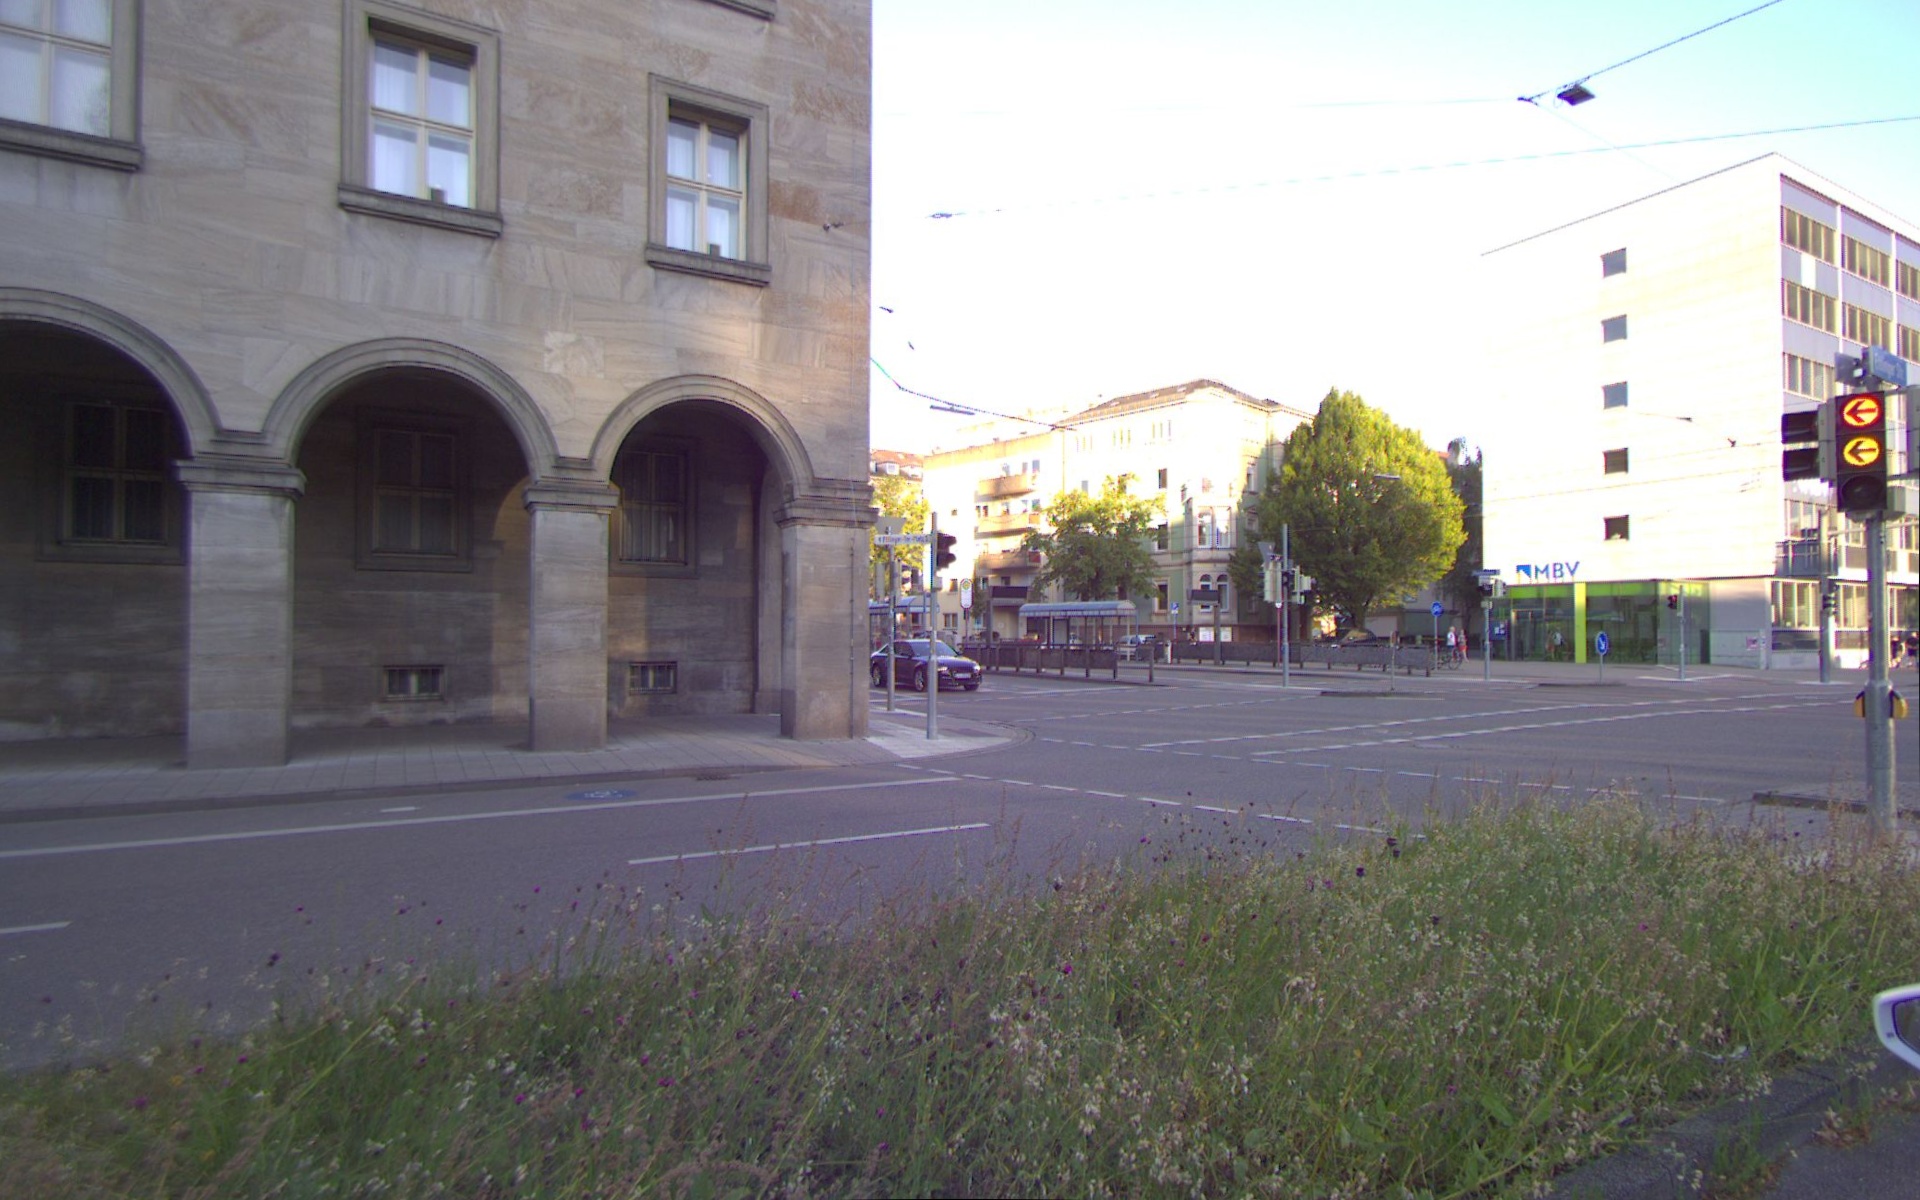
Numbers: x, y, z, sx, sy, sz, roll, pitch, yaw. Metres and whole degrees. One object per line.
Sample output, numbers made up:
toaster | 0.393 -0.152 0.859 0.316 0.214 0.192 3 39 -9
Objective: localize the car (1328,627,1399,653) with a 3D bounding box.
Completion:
car | 22.107 2.176 55.015 3.553 1.390 1.826 1 -2 -32

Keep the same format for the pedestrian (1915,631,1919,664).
pedestrian | 48.994 2.404 51.058 0.494 1.701 0.498 1 -2 -30

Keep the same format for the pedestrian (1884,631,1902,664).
pedestrian | 47.940 2.435 51.609 0.494 1.701 0.549 1 -2 -30

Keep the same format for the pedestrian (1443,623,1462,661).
pedestrian | 23.940 2.030 48.809 0.718 1.813 0.634 2 -2 -44

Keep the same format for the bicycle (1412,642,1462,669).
bicycle | 21.090 2.436 44.373 2.183 1.127 0.834 1 -2 -26

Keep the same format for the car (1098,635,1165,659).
car | 10.071 2.757 59.158 3.545 1.390 1.830 -2 -3 45

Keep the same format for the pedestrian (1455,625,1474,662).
pedestrian | 24.741 2.115 49.245 0.718 1.813 0.634 2 -2 -43

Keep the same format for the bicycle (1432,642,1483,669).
bicycle | 21.612 2.400 43.587 2.183 1.127 0.834 1 -2 -26

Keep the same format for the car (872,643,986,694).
car | -0.992 1.978 29.773 1.791 1.344 4.120 1 -2 -27

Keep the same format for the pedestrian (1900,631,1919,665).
pedestrian | 48.797 2.461 51.621 0.494 1.701 0.549 1 -2 -30
